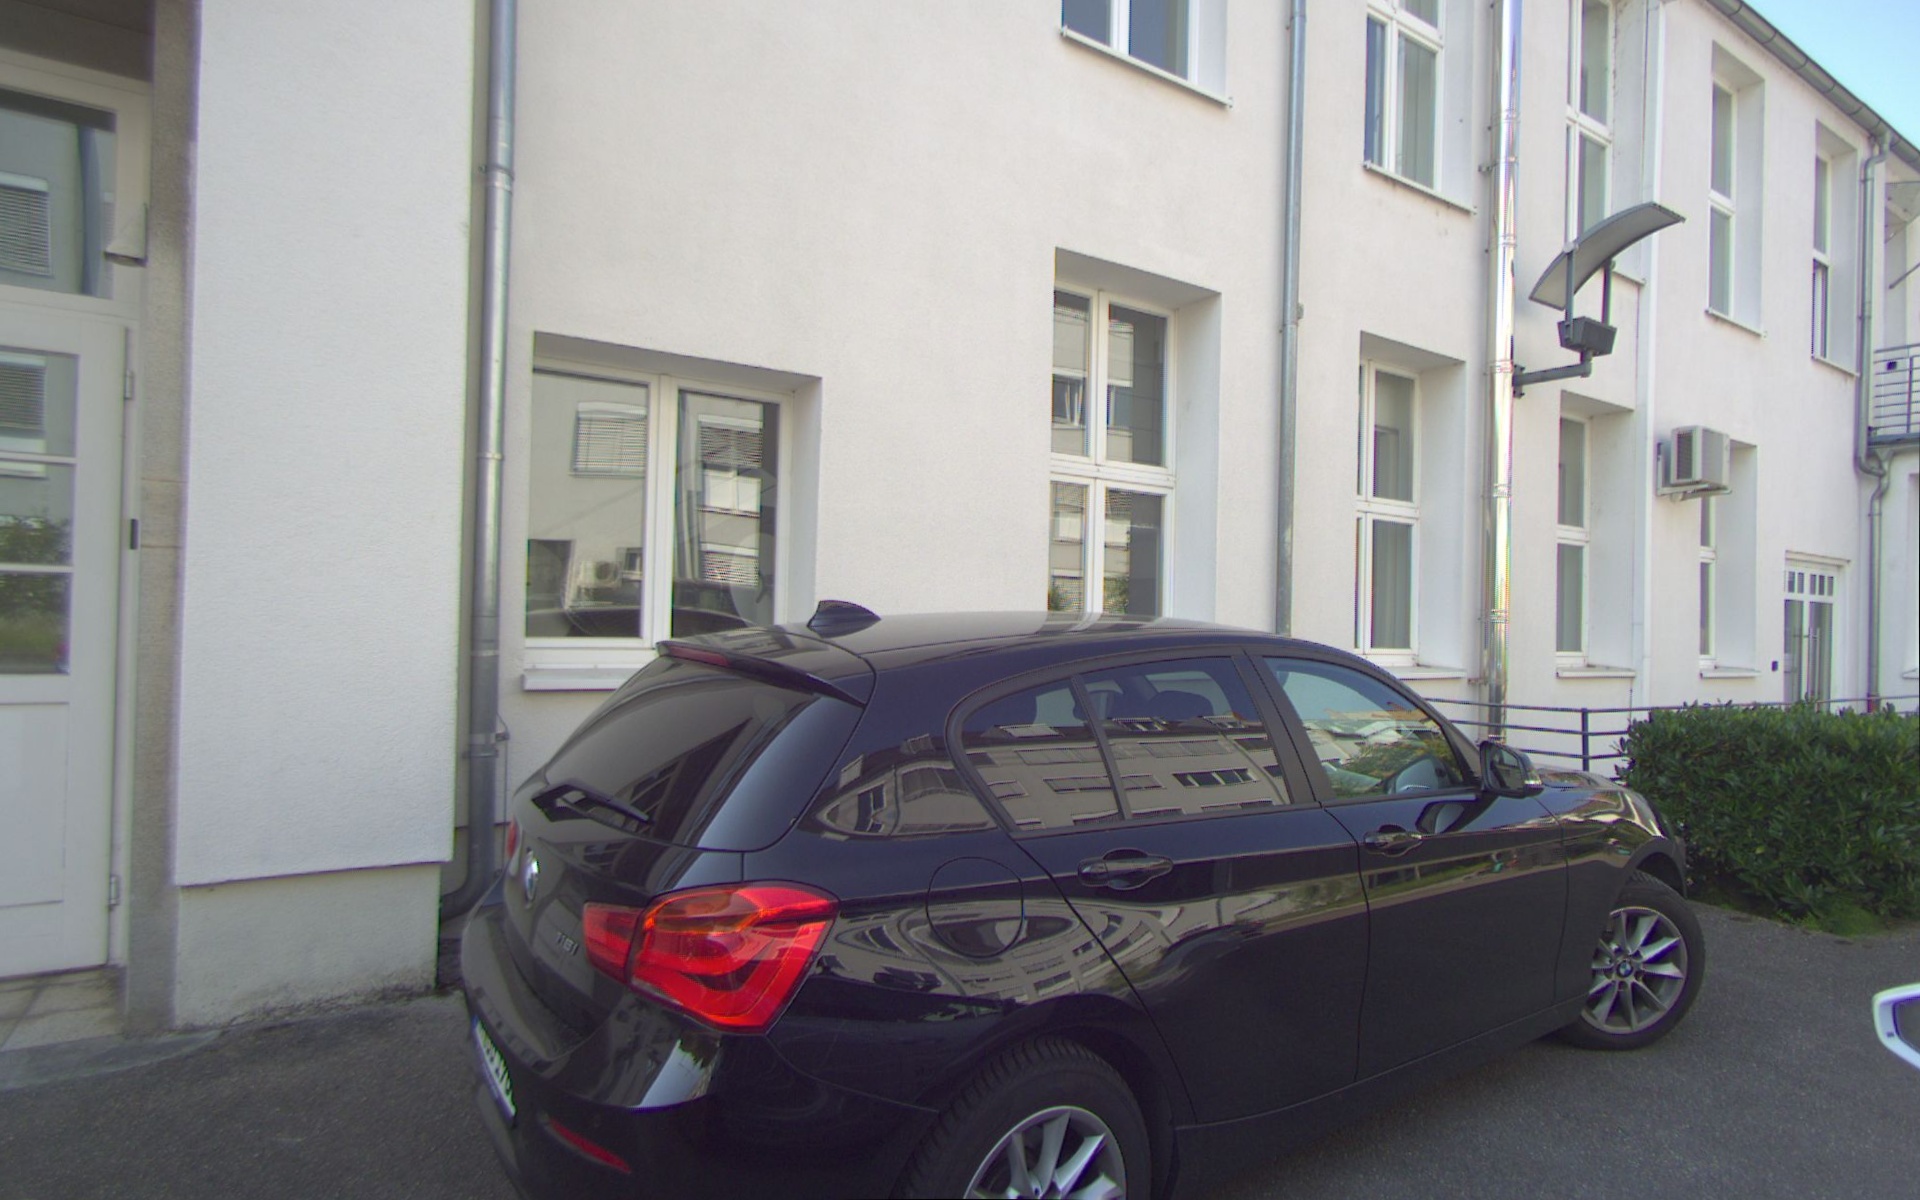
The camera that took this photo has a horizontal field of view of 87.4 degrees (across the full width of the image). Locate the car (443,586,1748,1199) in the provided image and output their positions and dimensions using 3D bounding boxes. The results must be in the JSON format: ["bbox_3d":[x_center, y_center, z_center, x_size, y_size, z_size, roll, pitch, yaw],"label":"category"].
[{"bbox_3d":[0.735,0.752,3.273,4.095,1.447,1.781,2,0,-35],"label":"car"}]
